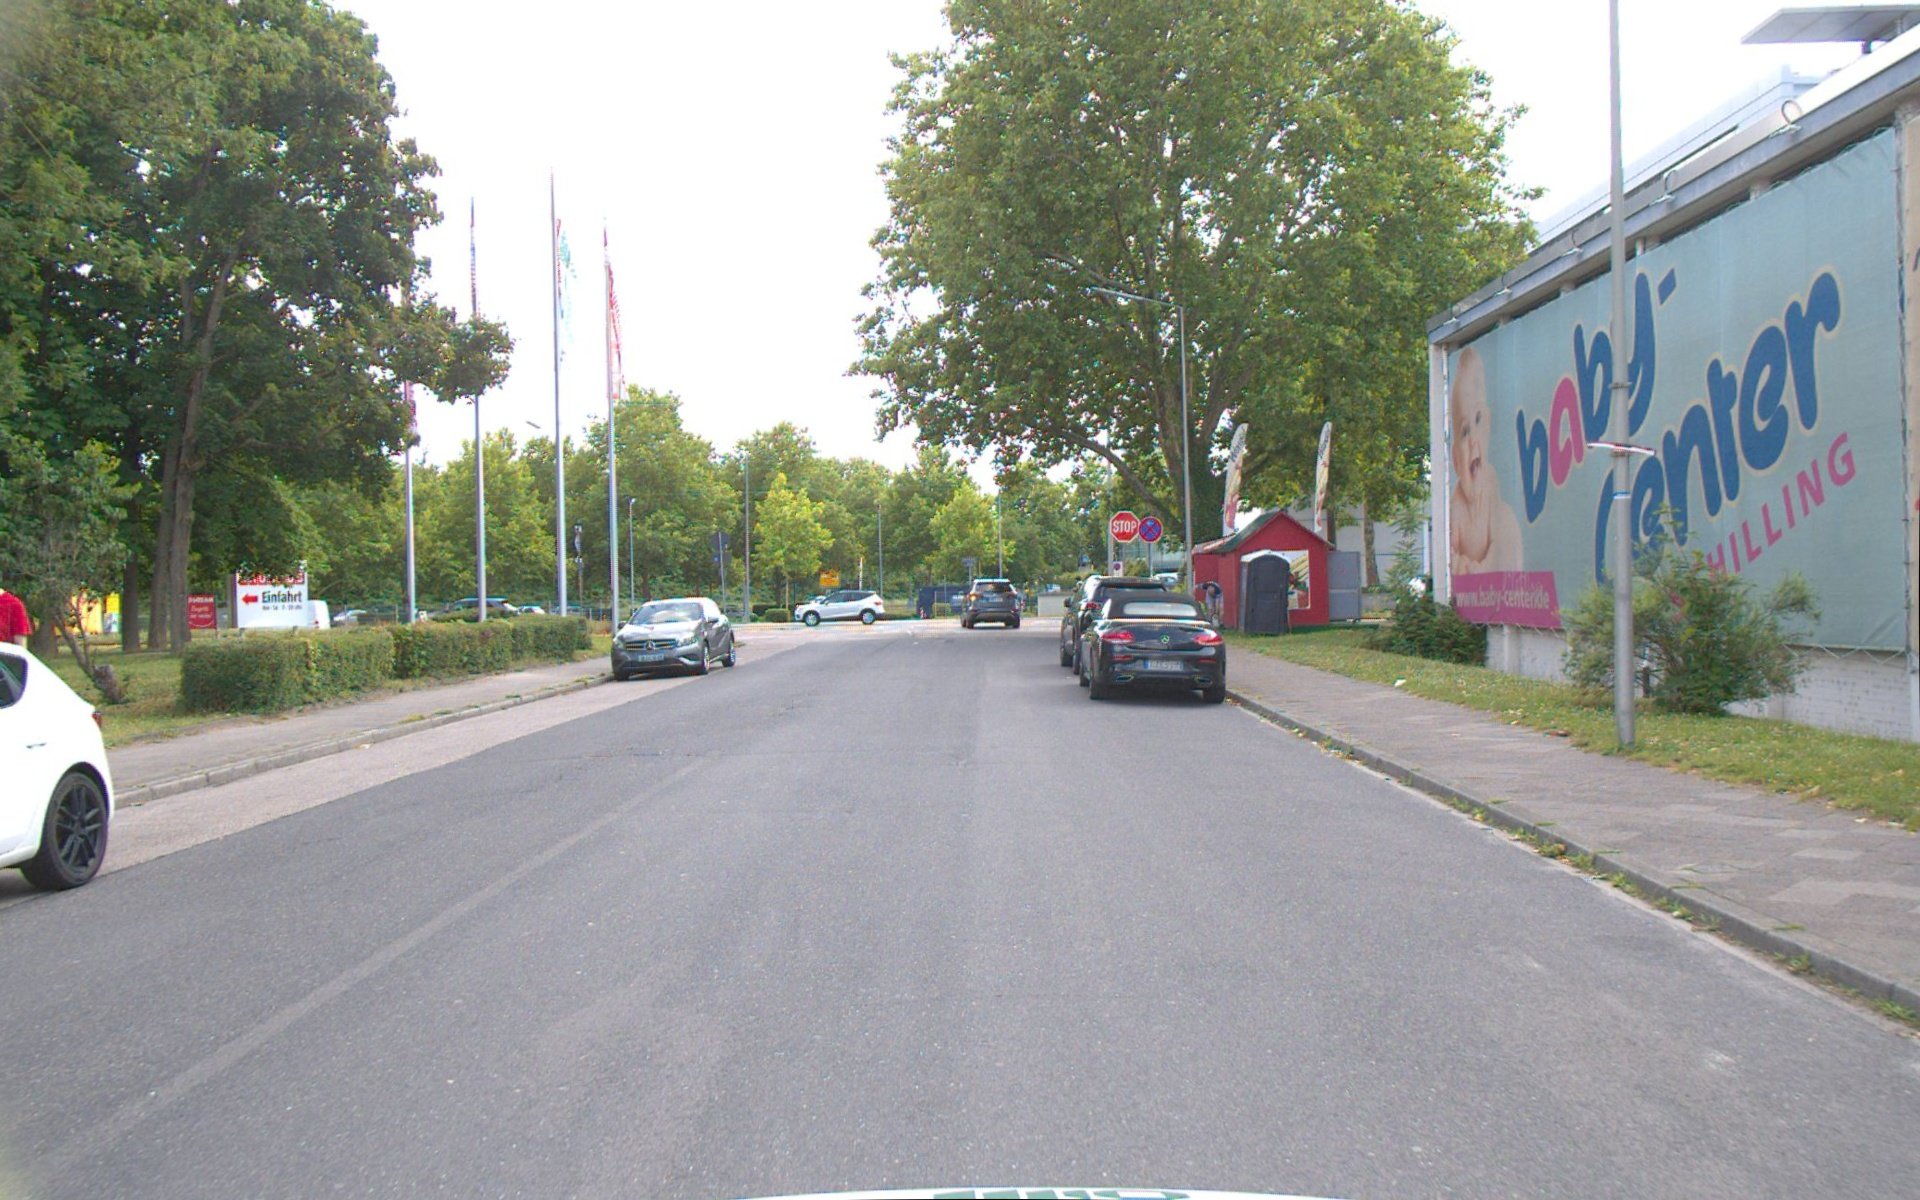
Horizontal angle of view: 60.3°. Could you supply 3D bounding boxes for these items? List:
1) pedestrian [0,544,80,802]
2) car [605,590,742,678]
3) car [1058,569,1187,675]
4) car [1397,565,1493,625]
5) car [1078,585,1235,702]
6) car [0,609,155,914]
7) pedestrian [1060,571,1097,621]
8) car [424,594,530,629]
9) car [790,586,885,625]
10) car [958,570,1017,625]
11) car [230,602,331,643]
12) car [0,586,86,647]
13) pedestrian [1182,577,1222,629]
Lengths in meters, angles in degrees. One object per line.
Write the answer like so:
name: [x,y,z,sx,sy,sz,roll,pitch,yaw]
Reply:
pedestrian: [-7.892,0.584,13.597,0.792,2.049,0.885,-1,0,0]
car: [-5.502,0.610,32.276,1.674,1.444,4.332,-4,0,2]
car: [2.785,0.327,29.250,1.771,1.694,4.640,1,1,0]
car: [13.198,-0.157,45.195,1.703,1.538,4.002,-1,1,4]
car: [2.615,0.520,22.926,1.770,1.415,4.589,1,1,2]
car: [-5.716,0.891,7.747,1.729,1.505,4.235,-4,1,0]
pedestrian: [4.532,-0.143,63.316,0.985,1.881,1.223,-1,0,-17]
car: [-21.465,0.492,73.629,4.135,1.430,1.923,-1,1,-1]
car: [-5.467,0.251,74.314,4.135,1.607,1.923,-1,1,-1]
car: [0.938,-0.104,58.905,1.922,1.847,4.275,-1,1,-1]
car: [-40.297,1.312,98.139,5.180,2.250,1.797,-2,0,-3]
car: [-42.572,0.763,73.719,6.247,2.623,2.208,-1,0,8]
pedestrian: [6.426,0.082,43.883,0.992,1.337,0.965,-1,0,9]
